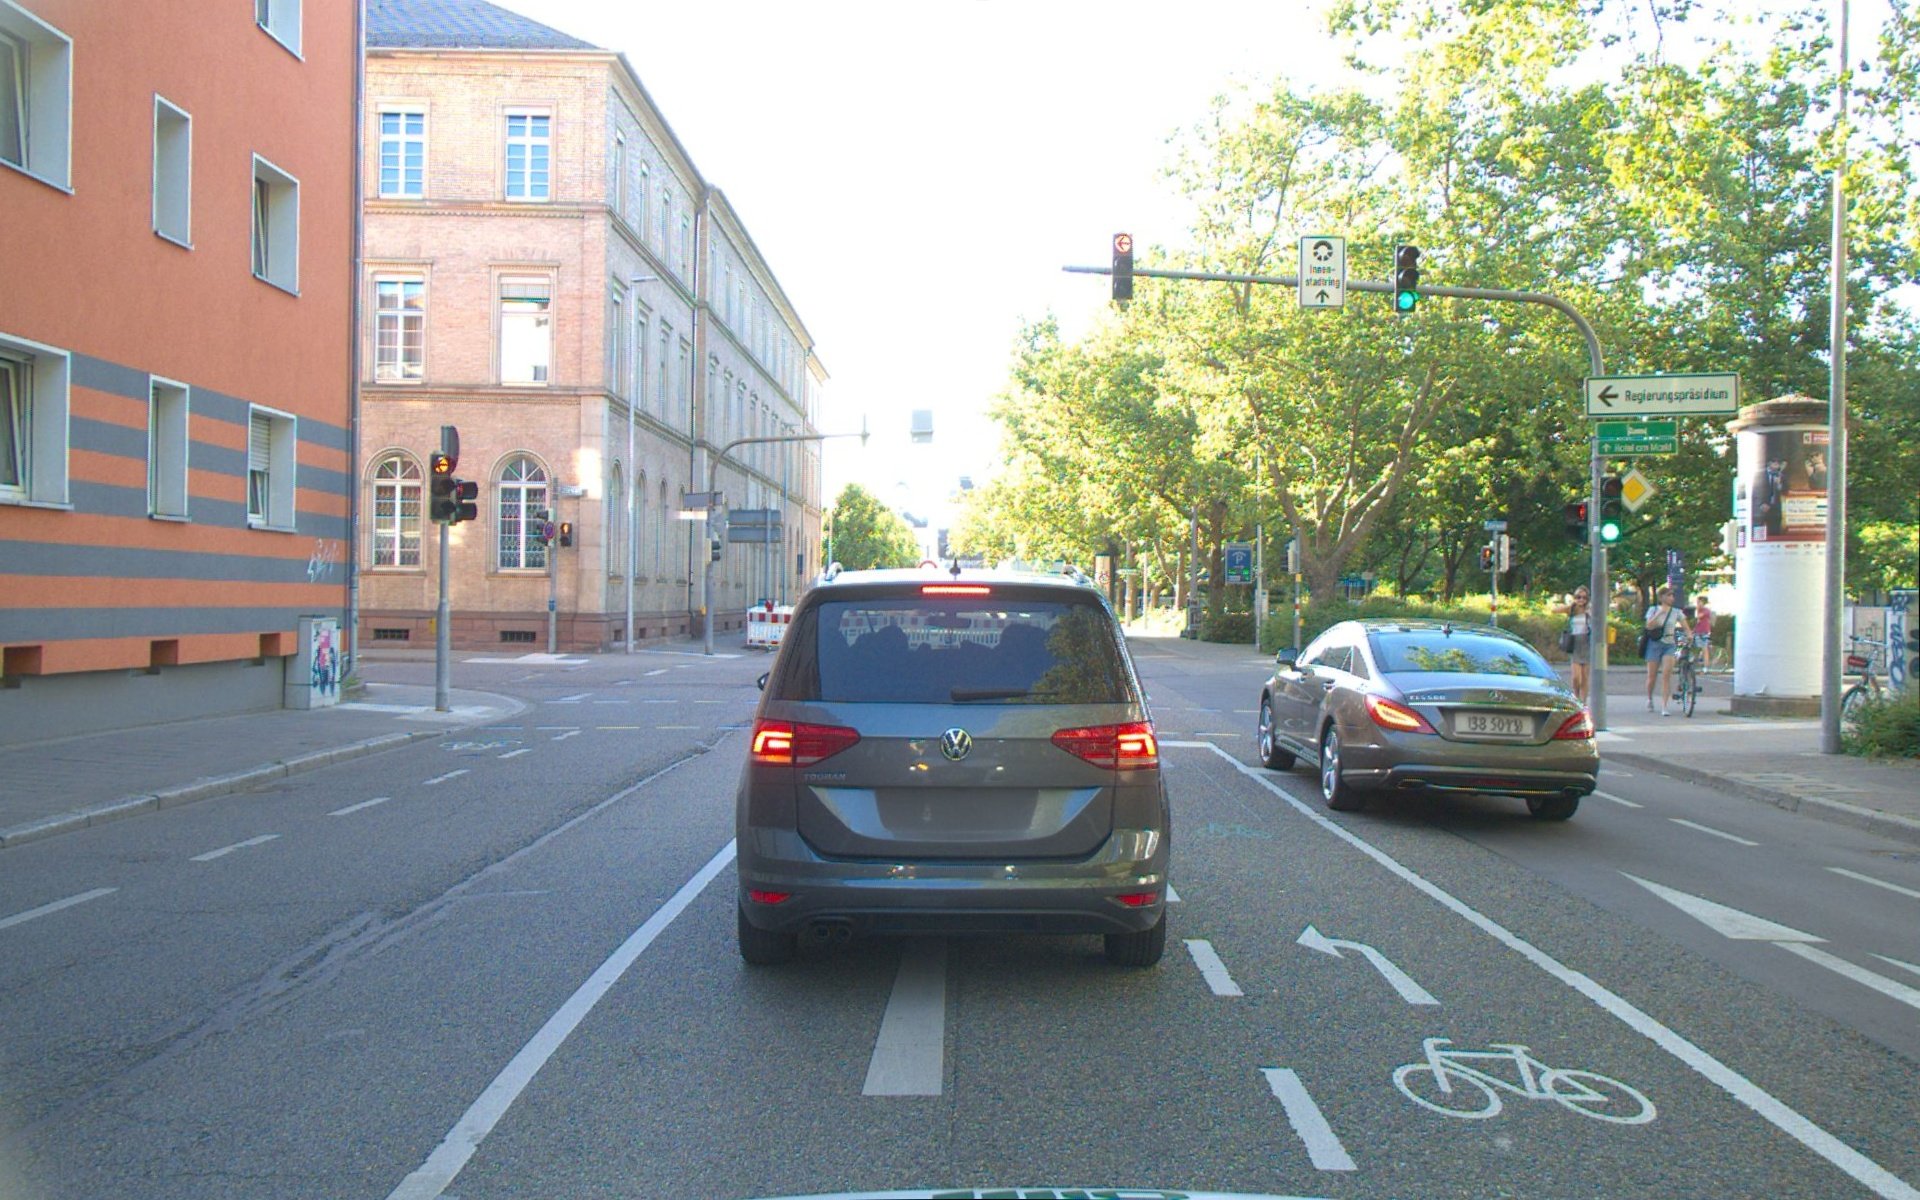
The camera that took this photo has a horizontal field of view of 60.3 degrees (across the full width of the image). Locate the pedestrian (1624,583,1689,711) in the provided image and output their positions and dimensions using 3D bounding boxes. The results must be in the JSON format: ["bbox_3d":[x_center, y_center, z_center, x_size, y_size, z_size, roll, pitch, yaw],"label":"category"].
[{"bbox_3d":[9.718,0.646,23.099,0.668,1.727,0.971,1,0,15],"label":"pedestrian"}]

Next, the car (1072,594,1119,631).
[{"bbox_3d":[5.894,0.545,72.205,1.655,1.465,3.901,3,0,0],"label":"car"}]

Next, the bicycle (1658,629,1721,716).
[{"bbox_3d":[10.063,0.976,22.849,0.513,1.119,1.742,1,0,15],"label":"bicycle"}]

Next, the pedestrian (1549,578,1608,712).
[{"bbox_3d":[8.738,0.631,23.390,0.716,1.840,0.909,0,-1,17],"label":"pedestrian"}]

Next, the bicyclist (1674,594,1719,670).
[{"bbox_3d":[16.947,0.728,38.059,0.695,1.727,0.675,1,0,0],"label":"bicyclist"}]

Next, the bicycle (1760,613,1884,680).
[{"bbox_3d":[18.128,0.968,34.807,2.241,1.349,0.660,1,0,1],"label":"bicycle"}]

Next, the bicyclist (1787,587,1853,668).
[{"bbox_3d":[18.093,0.574,34.808,0.944,1.643,0.870,1,0,2],"label":"bicyclist"}]

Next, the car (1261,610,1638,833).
[{"bbox_3d":[3.735,0.839,13.495,1.805,1.454,4.518,1,0,1],"label":"car"}]

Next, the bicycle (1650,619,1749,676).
[{"bbox_3d":[17.006,1.096,38.055,1.989,1.242,0.599,1,0,0],"label":"bicycle"}]

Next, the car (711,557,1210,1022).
[{"bbox_3d":[0.065,0.679,7.889,1.772,1.640,4.001,0,0,2],"label":"car"}]

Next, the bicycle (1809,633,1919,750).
[{"bbox_3d":[10.207,0.983,17.736,1.935,1.210,0.528,1,0,-1],"label":"bicycle"}]
